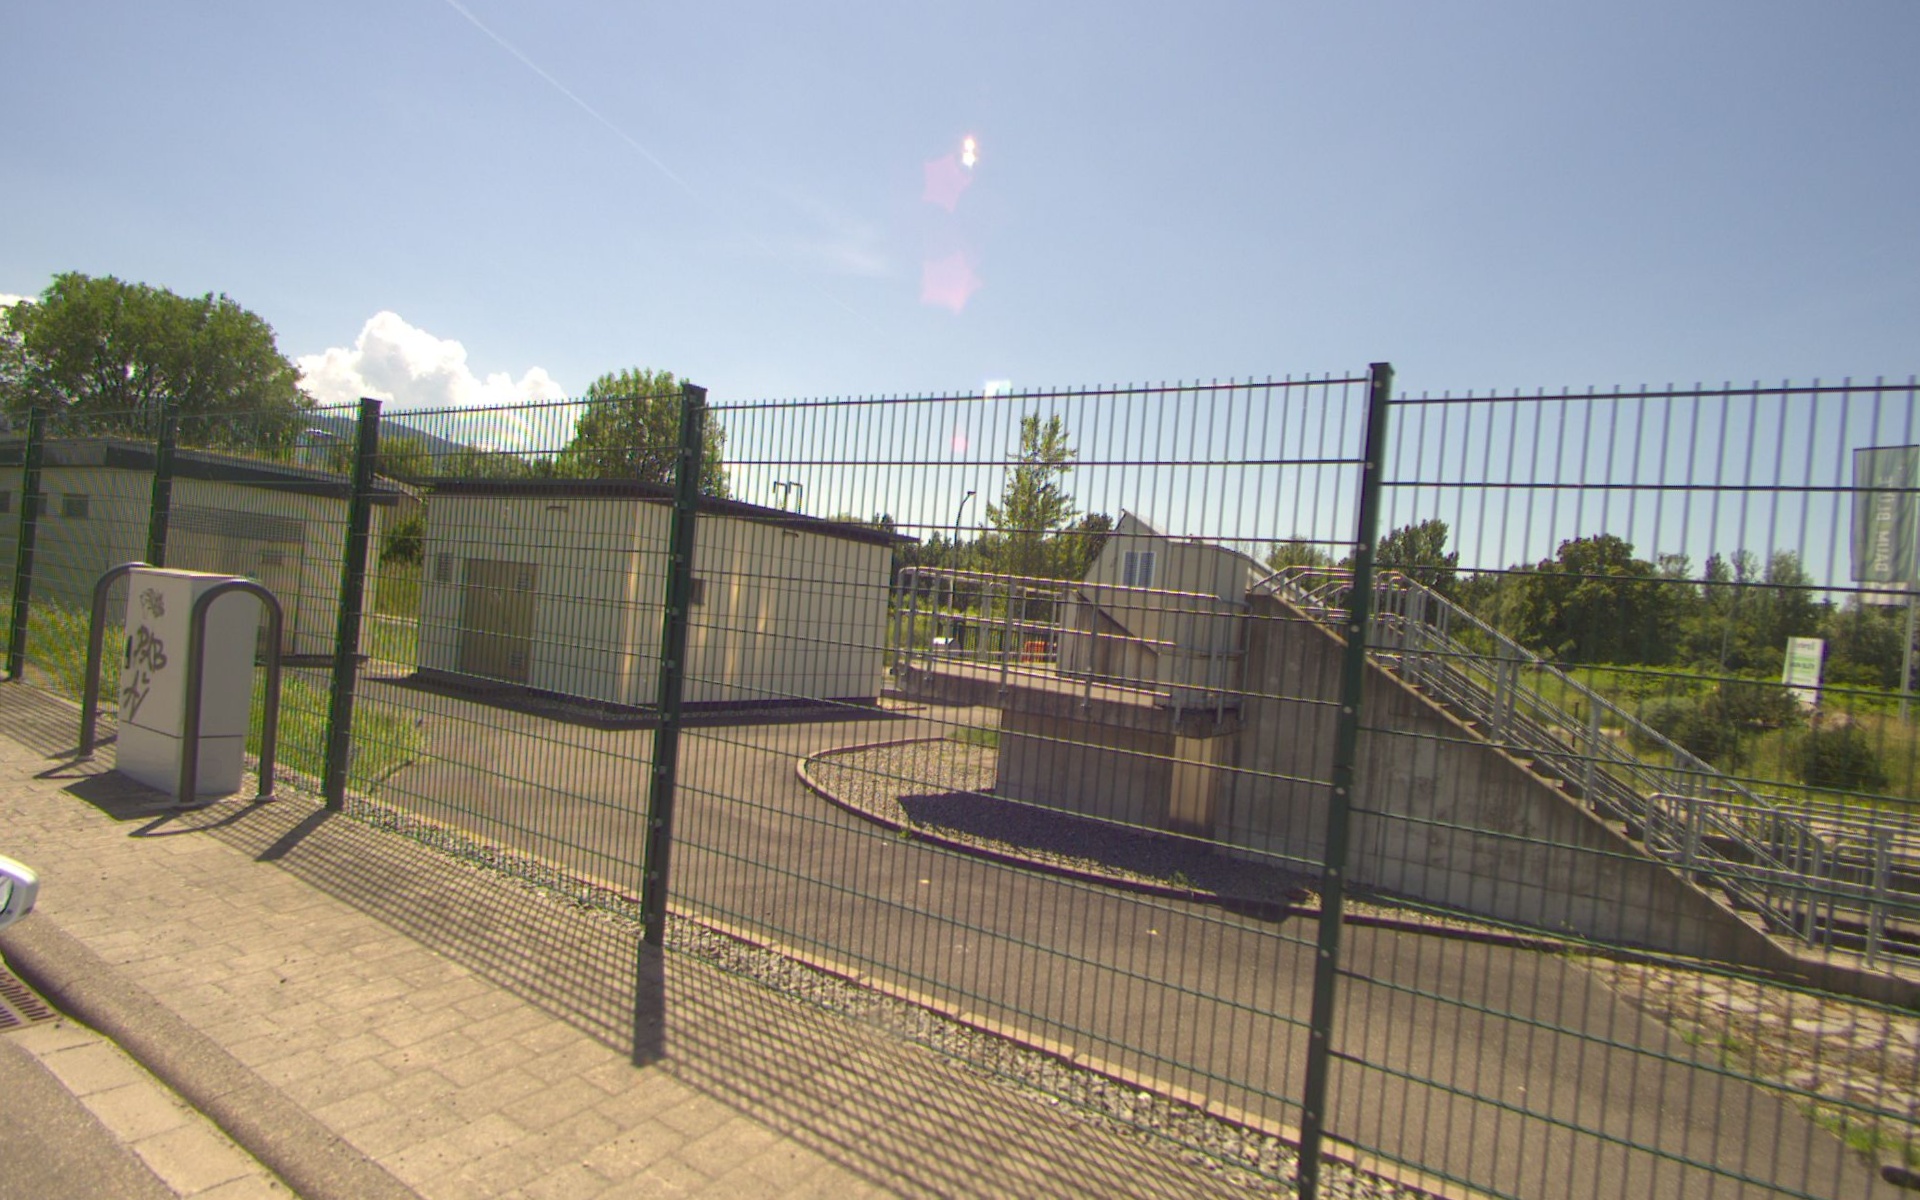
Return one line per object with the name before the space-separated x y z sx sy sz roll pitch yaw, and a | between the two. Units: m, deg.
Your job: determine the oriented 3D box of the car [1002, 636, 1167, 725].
car | 3.749 2.436 31.084 1.985 2.045 4.867 7 -1 -39
